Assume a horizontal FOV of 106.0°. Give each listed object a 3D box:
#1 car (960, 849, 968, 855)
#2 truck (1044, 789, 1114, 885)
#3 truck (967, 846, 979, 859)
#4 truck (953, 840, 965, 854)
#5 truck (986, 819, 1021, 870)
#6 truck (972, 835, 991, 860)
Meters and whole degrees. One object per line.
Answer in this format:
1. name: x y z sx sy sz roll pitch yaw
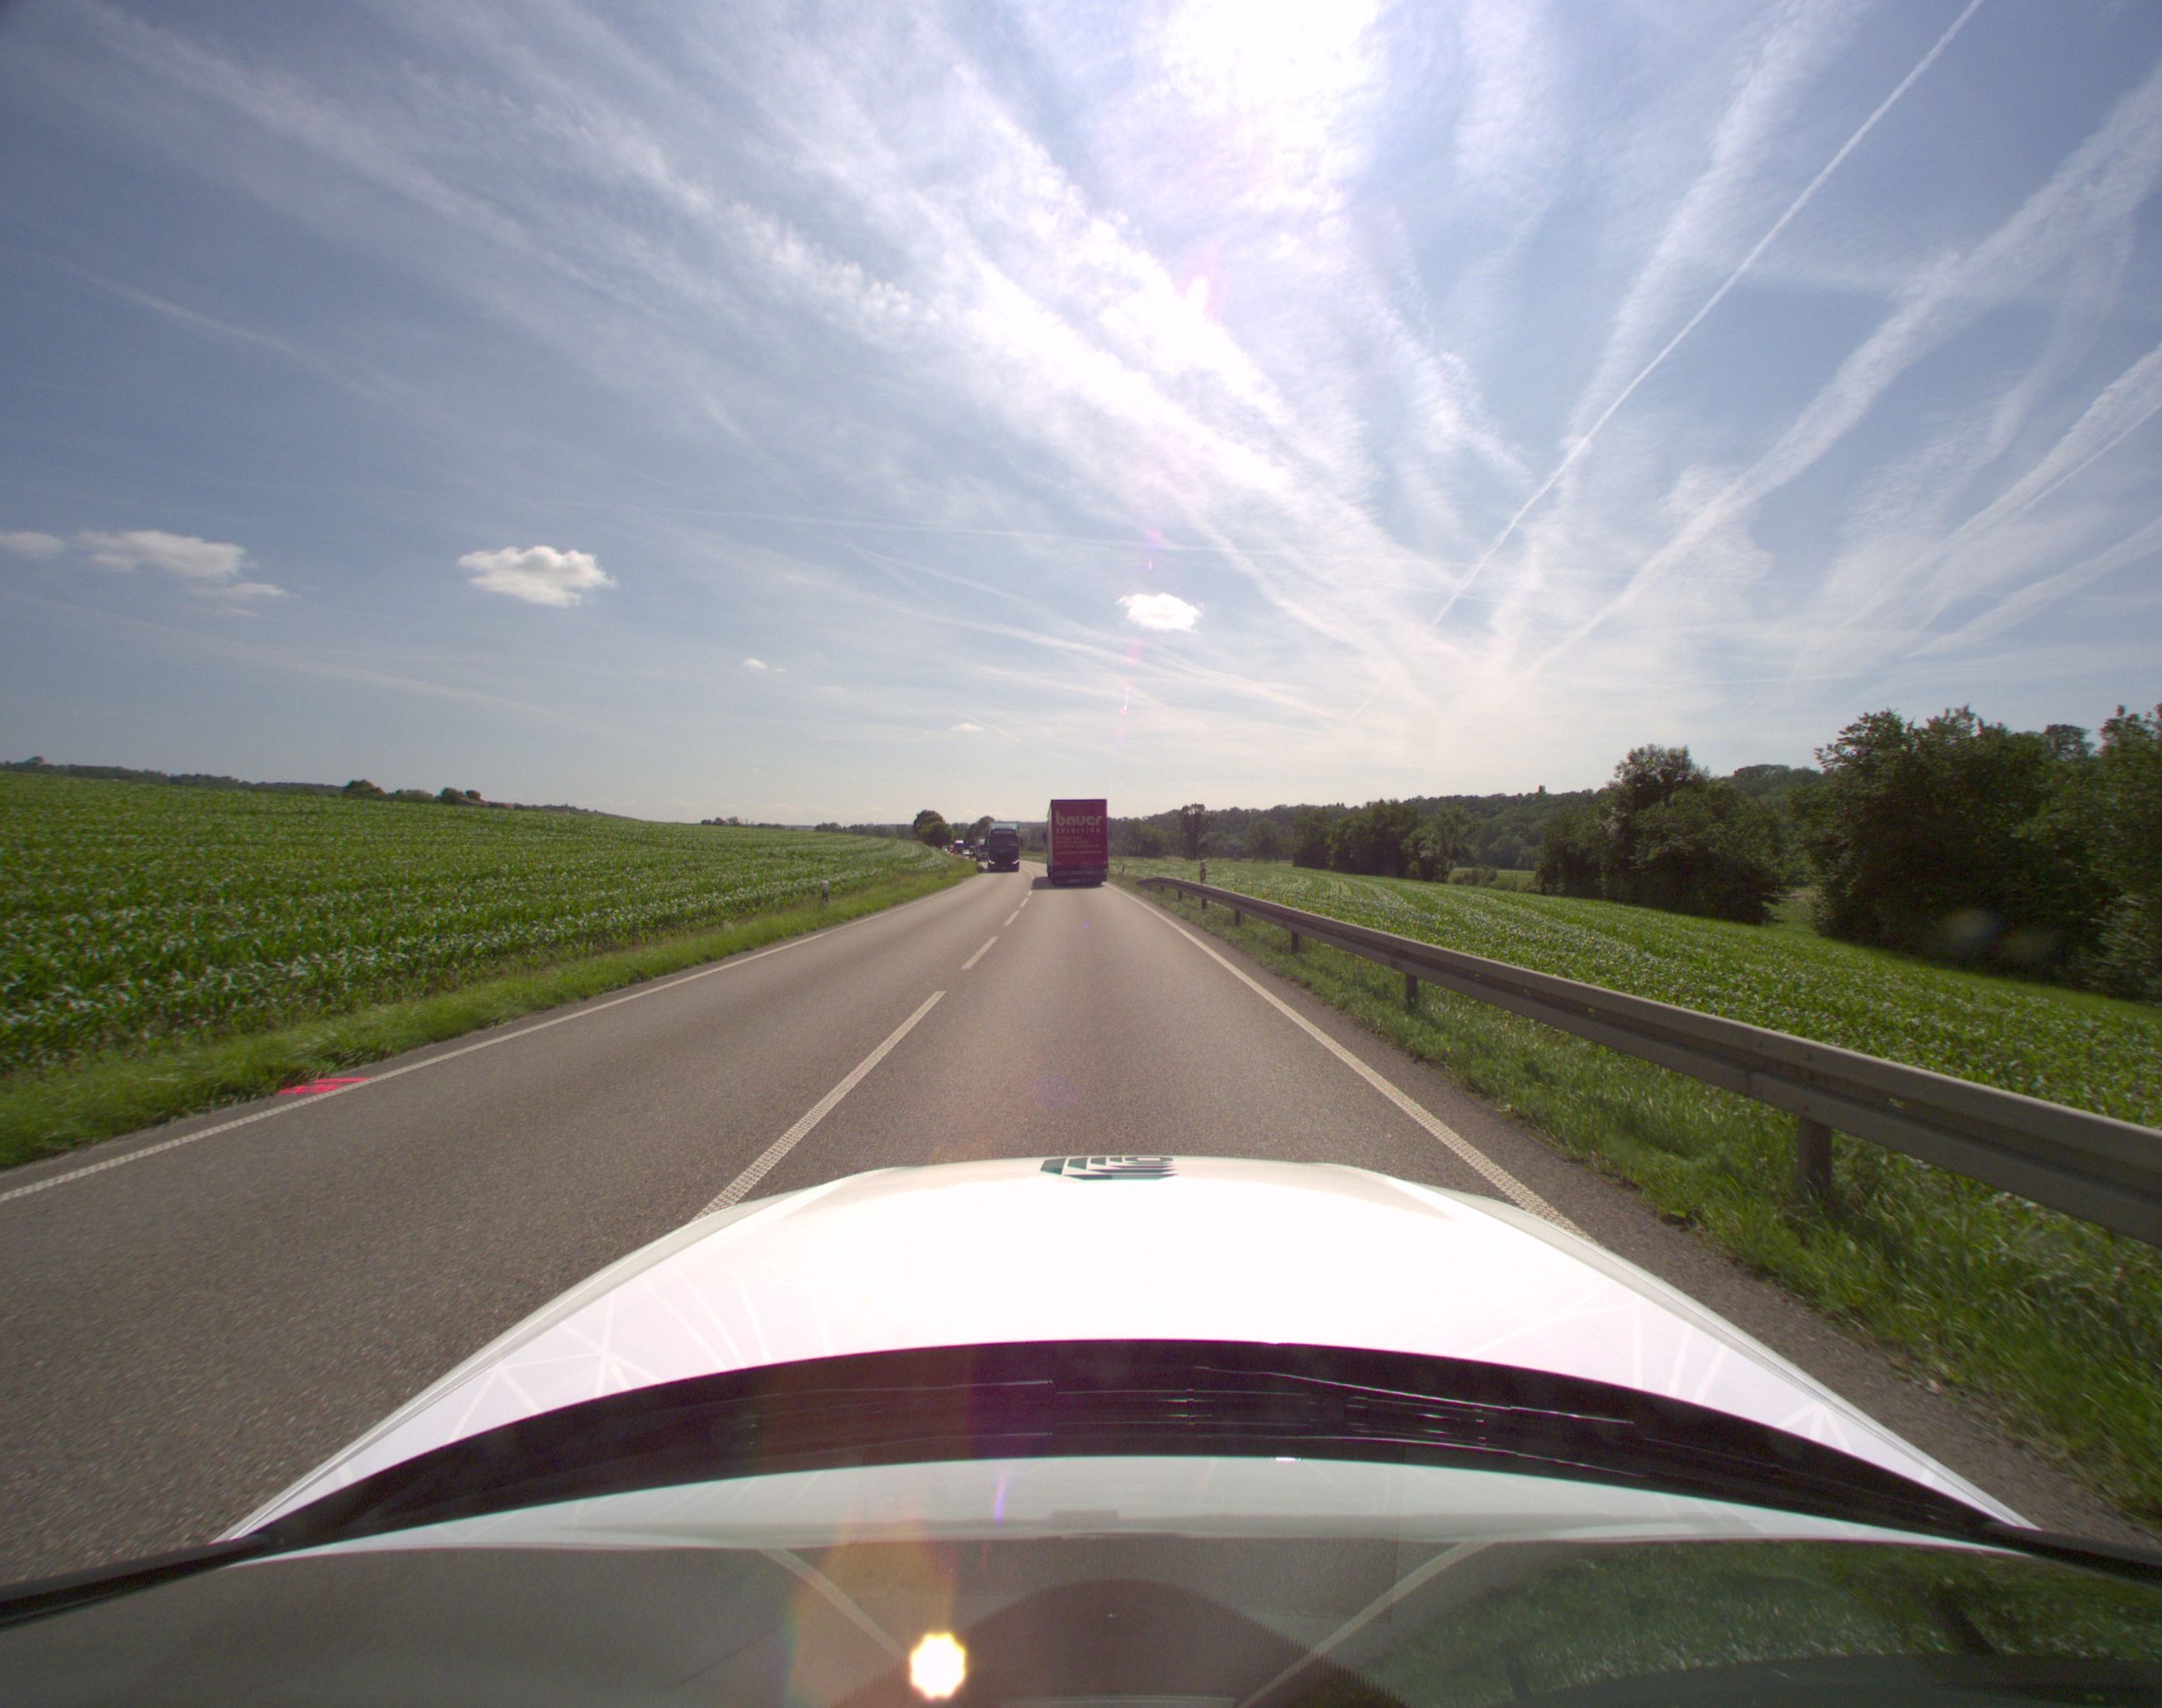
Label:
1. car: -26.628 -0.482 186.011 1.728 1.440 4.164 -1 0 -9
2. truck: -0.145 -0.747 40.272 3.085 4.262 8.310 -1 0 -1
3. truck: -20.164 -0.241 152.166 2.010 2.320 5.174 -1 0 -10
4. truck: -35.057 -1.959 234.222 2.827 3.992 16.474 -2 1 -10
5. truck: -6.976 -0.795 72.539 2.767 3.998 16.991 -1 0 -6
6. truck: -15.204 -0.957 124.717 2.738 3.578 9.704 -1 0 -7
